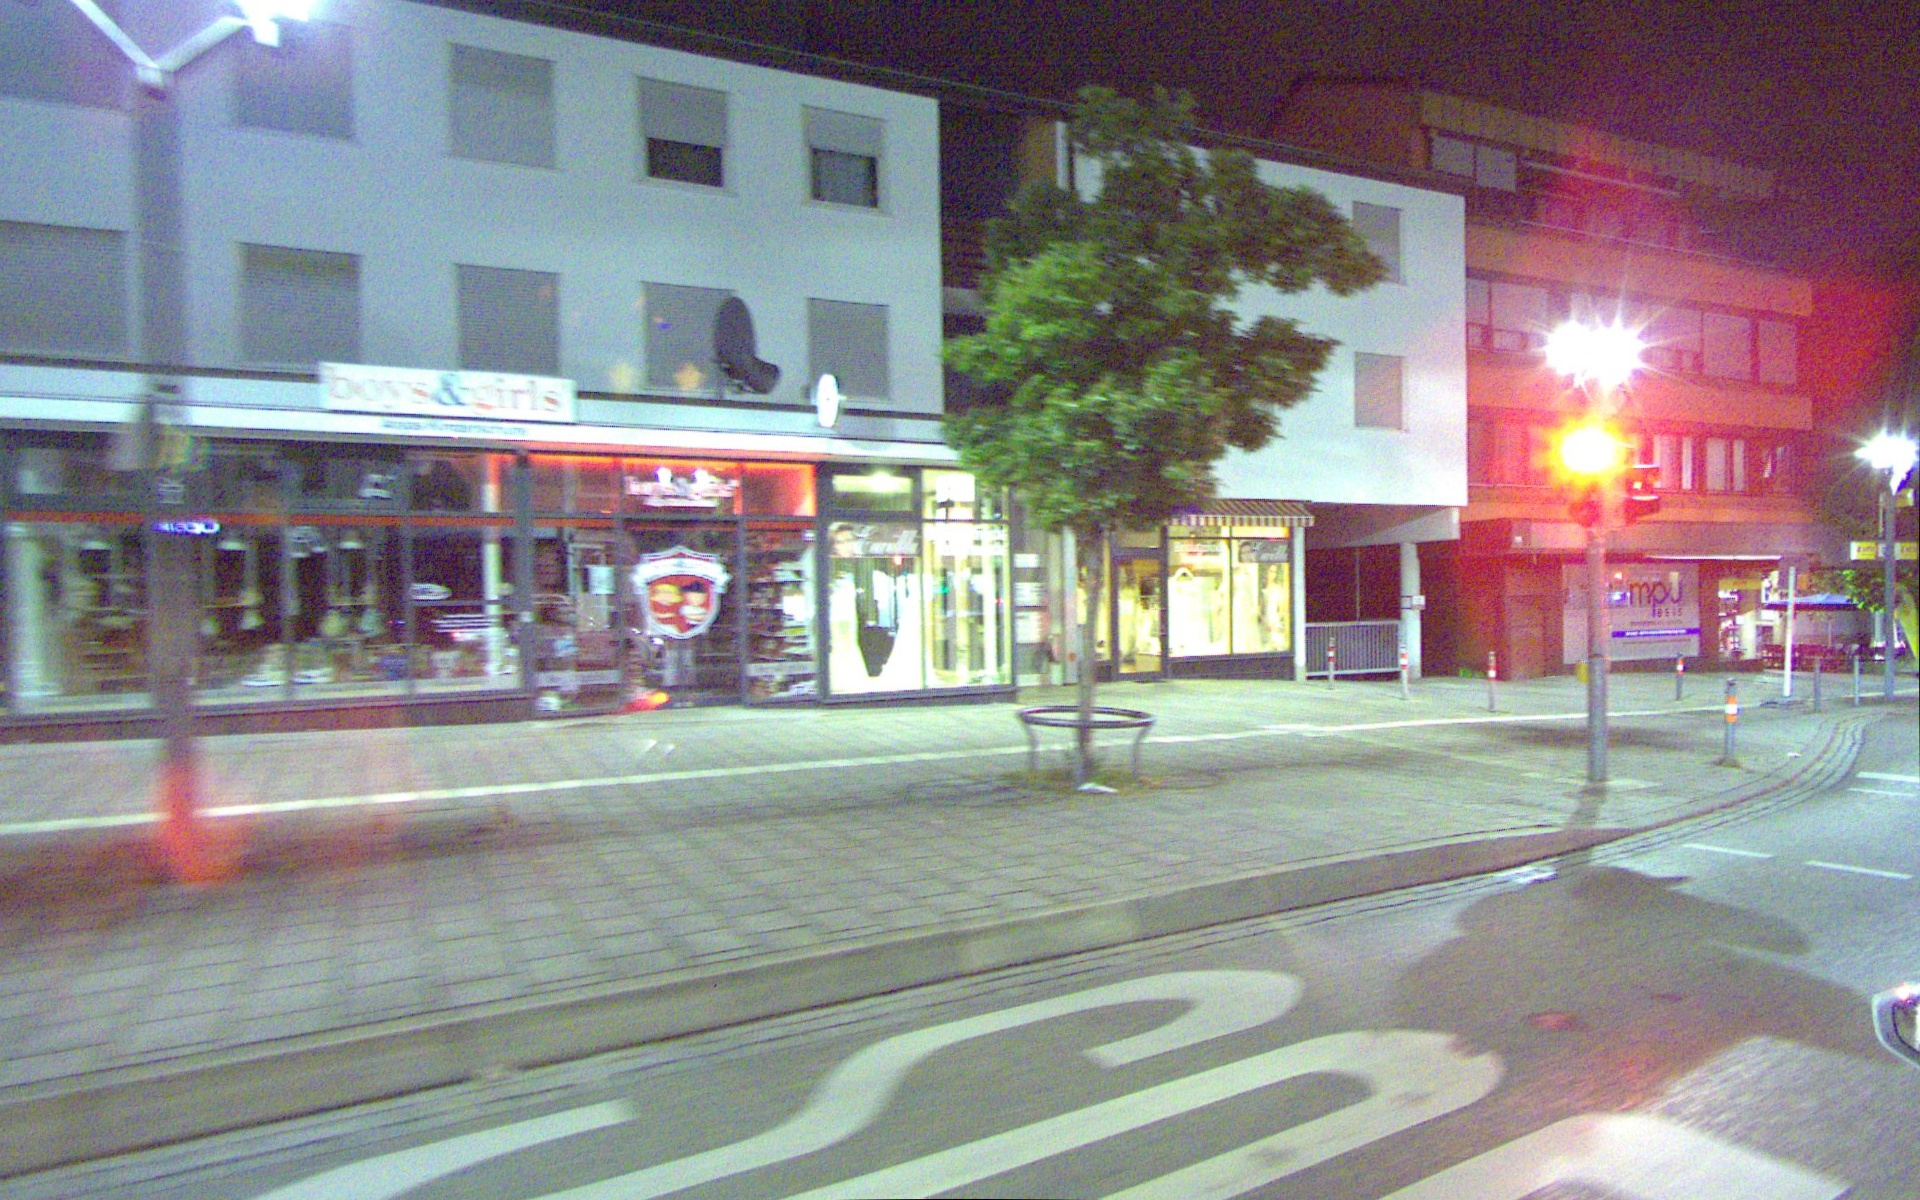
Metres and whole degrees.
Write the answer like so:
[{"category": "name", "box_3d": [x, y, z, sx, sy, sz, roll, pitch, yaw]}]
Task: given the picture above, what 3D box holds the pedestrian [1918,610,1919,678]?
[{"category": "pedestrian", "box_3d": [25.325, 1.138, 25.993, 0.565, 1.819, 0.709, 3, -1, -42]}]
